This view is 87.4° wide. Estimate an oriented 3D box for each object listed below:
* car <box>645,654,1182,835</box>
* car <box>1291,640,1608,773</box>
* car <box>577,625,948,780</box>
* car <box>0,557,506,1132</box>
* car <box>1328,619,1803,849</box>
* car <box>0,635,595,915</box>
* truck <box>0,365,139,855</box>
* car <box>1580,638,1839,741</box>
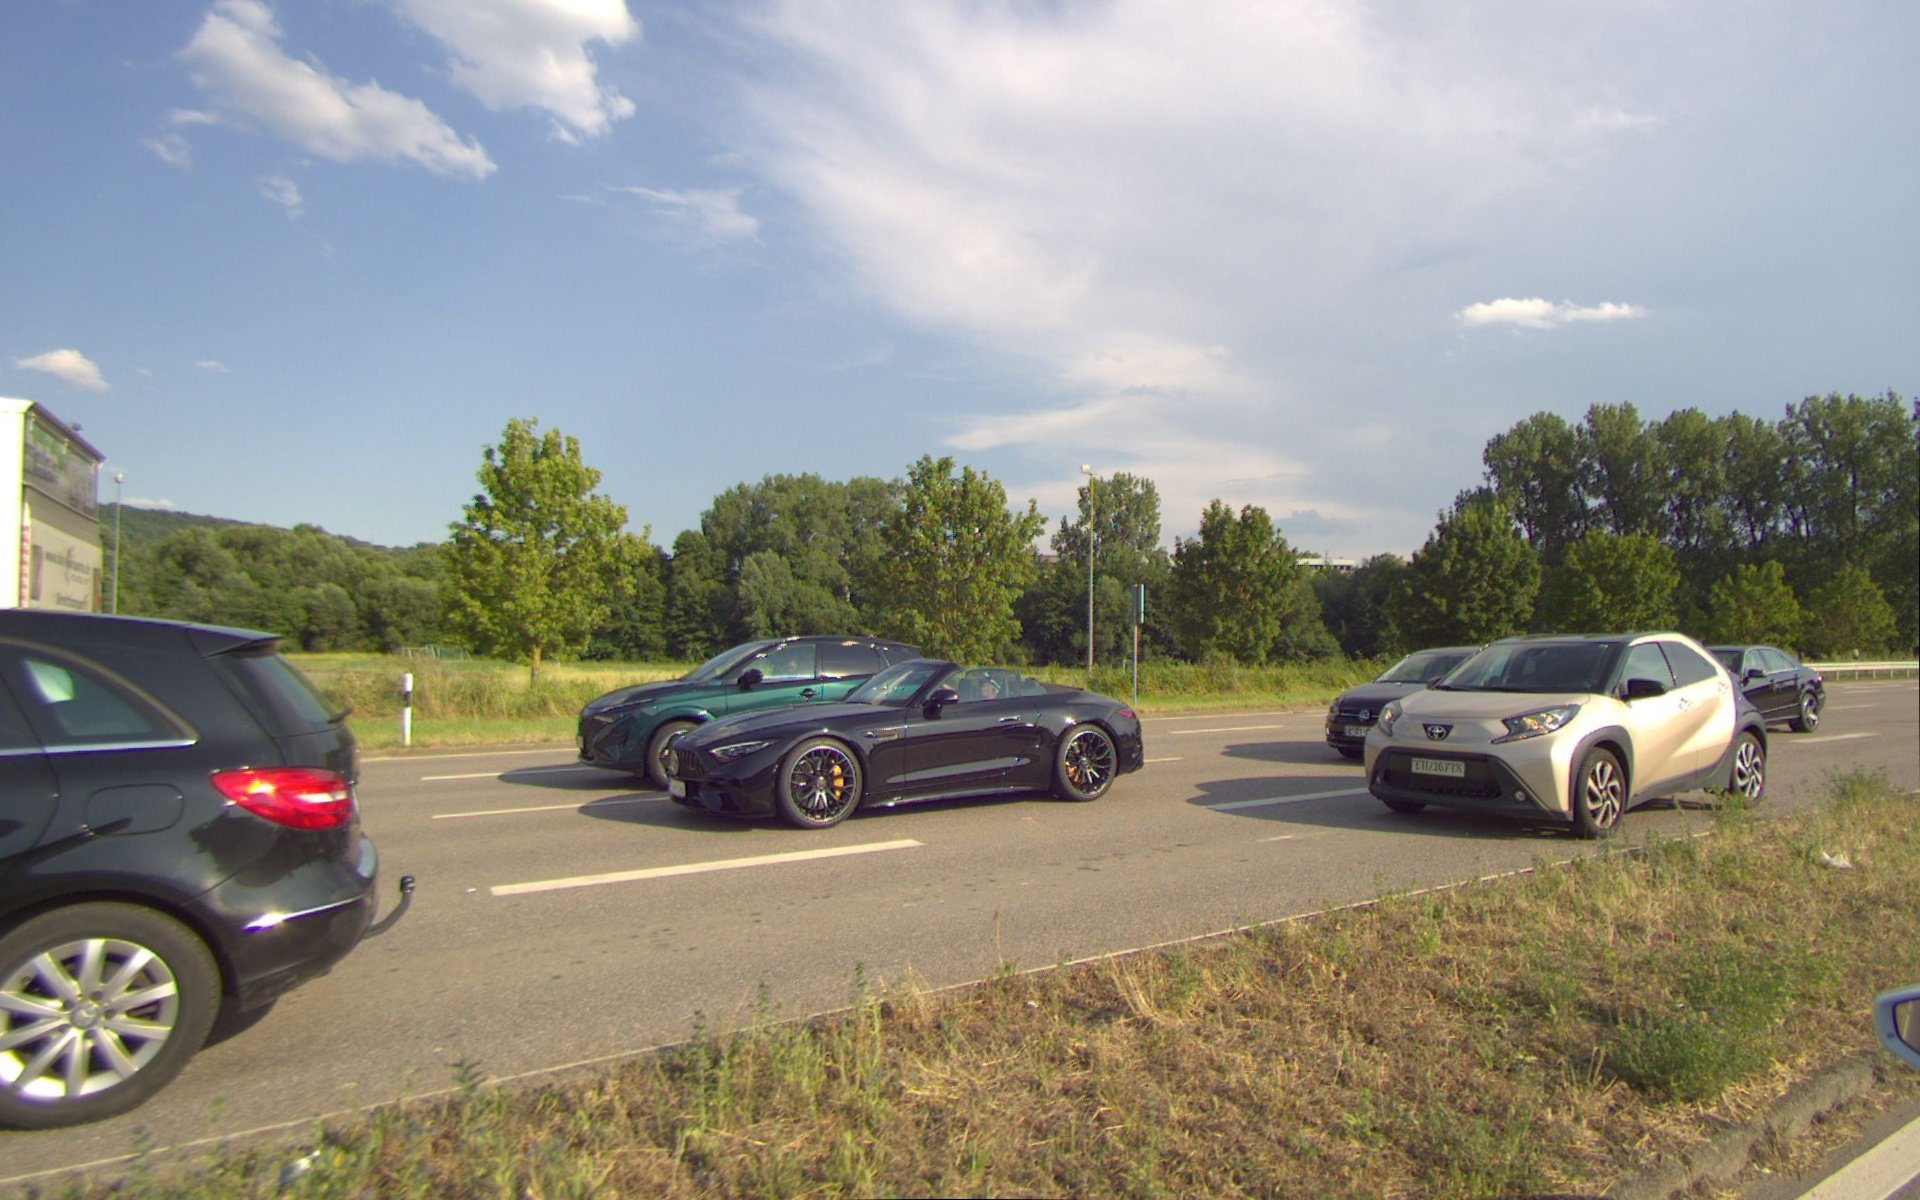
[{"bbox_3d":[-0.303,1.159,9.319,4.763,1.300,1.694,2,-3,-31],"label":"car"},{"bbox_3d":[6.415,1.305,13.068,4.197,1.492,1.694,2,-4,-31],"label":"car"},{"bbox_3d":[-2.280,1.153,11.868,3.953,1.549,1.754,3,-4,-30],"label":"car"},{"bbox_3d":[-3.907,0.692,3.003,4.517,1.558,1.772,0,-2,-30],"label":"car"},{"bbox_3d":[5.178,1.021,8.522,3.953,1.539,1.772,3,-4,-30],"label":"car"},{"bbox_3d":[-4.996,0.937,6.054,5.023,1.423,1.694,3,-3,-31],"label":"car"},{"bbox_3d":[-12.378,-0.068,6.499,10.372,3.737,2.921,3,-4,-29],"label":"truck"},{"bbox_3d":[12.384,1.396,16.522,4.671,1.483,1.707,1,-4,-31],"label":"car"}]
